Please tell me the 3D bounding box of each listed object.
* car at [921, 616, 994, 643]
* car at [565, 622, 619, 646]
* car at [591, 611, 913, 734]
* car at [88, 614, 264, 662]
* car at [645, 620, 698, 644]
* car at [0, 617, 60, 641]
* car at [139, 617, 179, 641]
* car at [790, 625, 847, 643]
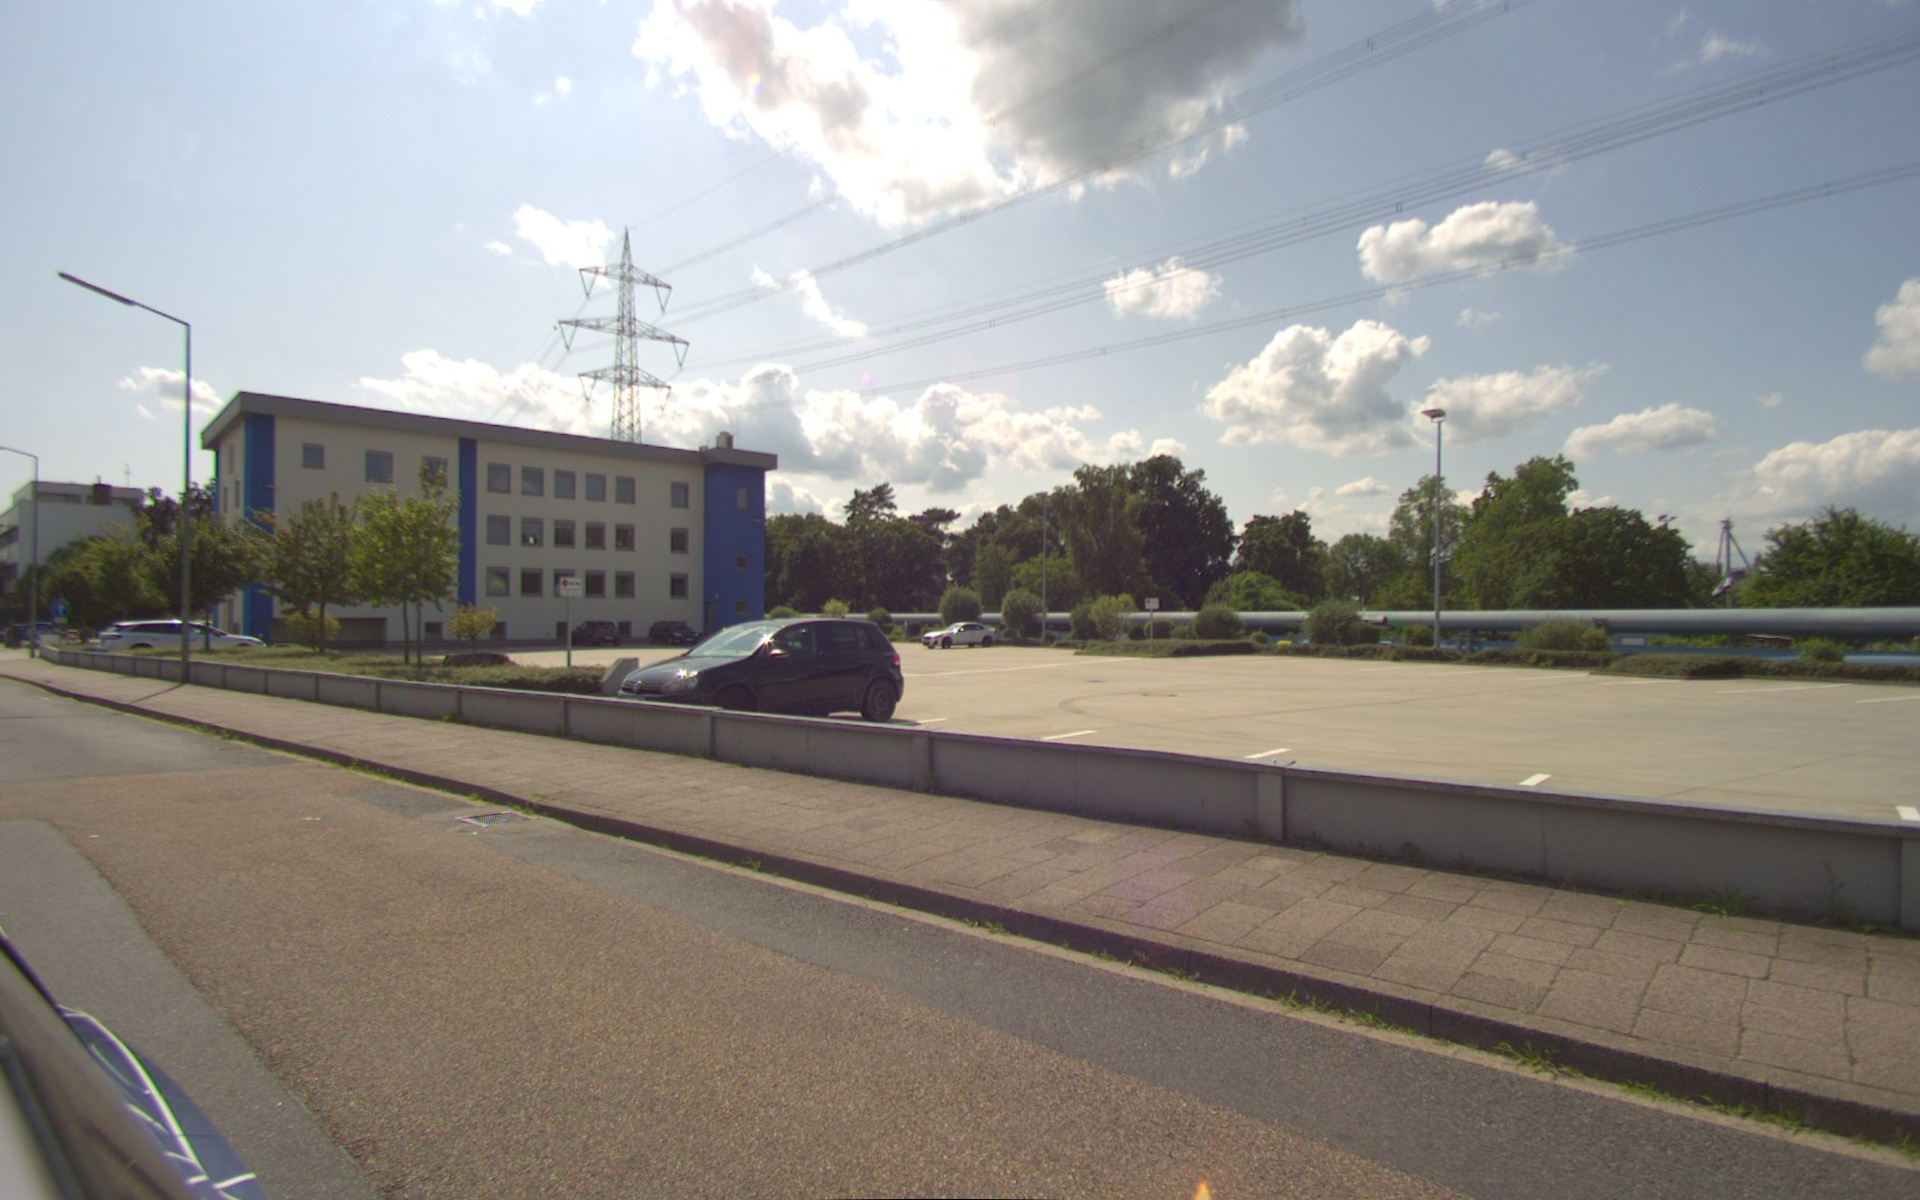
[{"bbox_3d":[-0.115,1.657,56.935,3.763,1.485,1.808,1,-2,-36],"label":"car"},{"bbox_3d":[-21.602,1.986,59.386,3.682,1.386,1.544,-1,-2,45],"label":"car"},{"bbox_3d":[-2.628,0.870,13.485,1.802,1.386,3.946,-1,-2,40],"label":"car"},{"bbox_3d":[-27.998,1.304,36.280,1.999,1.614,4.705,-1,-1,41],"label":"car"},{"bbox_3d":[-17.755,1.962,62.175,3.682,1.386,1.544,-1,-2,45],"label":"car"},{"bbox_3d":[-70.147,2.154,75.951,1.877,1.721,3.610,-1,-2,40],"label":"car"},{"bbox_3d":[-57.522,2.090,72.650,1.803,1.649,4.849,2,-2,-44],"label":"car"},{"bbox_3d":[-9.930,2.373,71.201,3.553,1.261,1.806,1,-2,-41],"label":"car"}]
